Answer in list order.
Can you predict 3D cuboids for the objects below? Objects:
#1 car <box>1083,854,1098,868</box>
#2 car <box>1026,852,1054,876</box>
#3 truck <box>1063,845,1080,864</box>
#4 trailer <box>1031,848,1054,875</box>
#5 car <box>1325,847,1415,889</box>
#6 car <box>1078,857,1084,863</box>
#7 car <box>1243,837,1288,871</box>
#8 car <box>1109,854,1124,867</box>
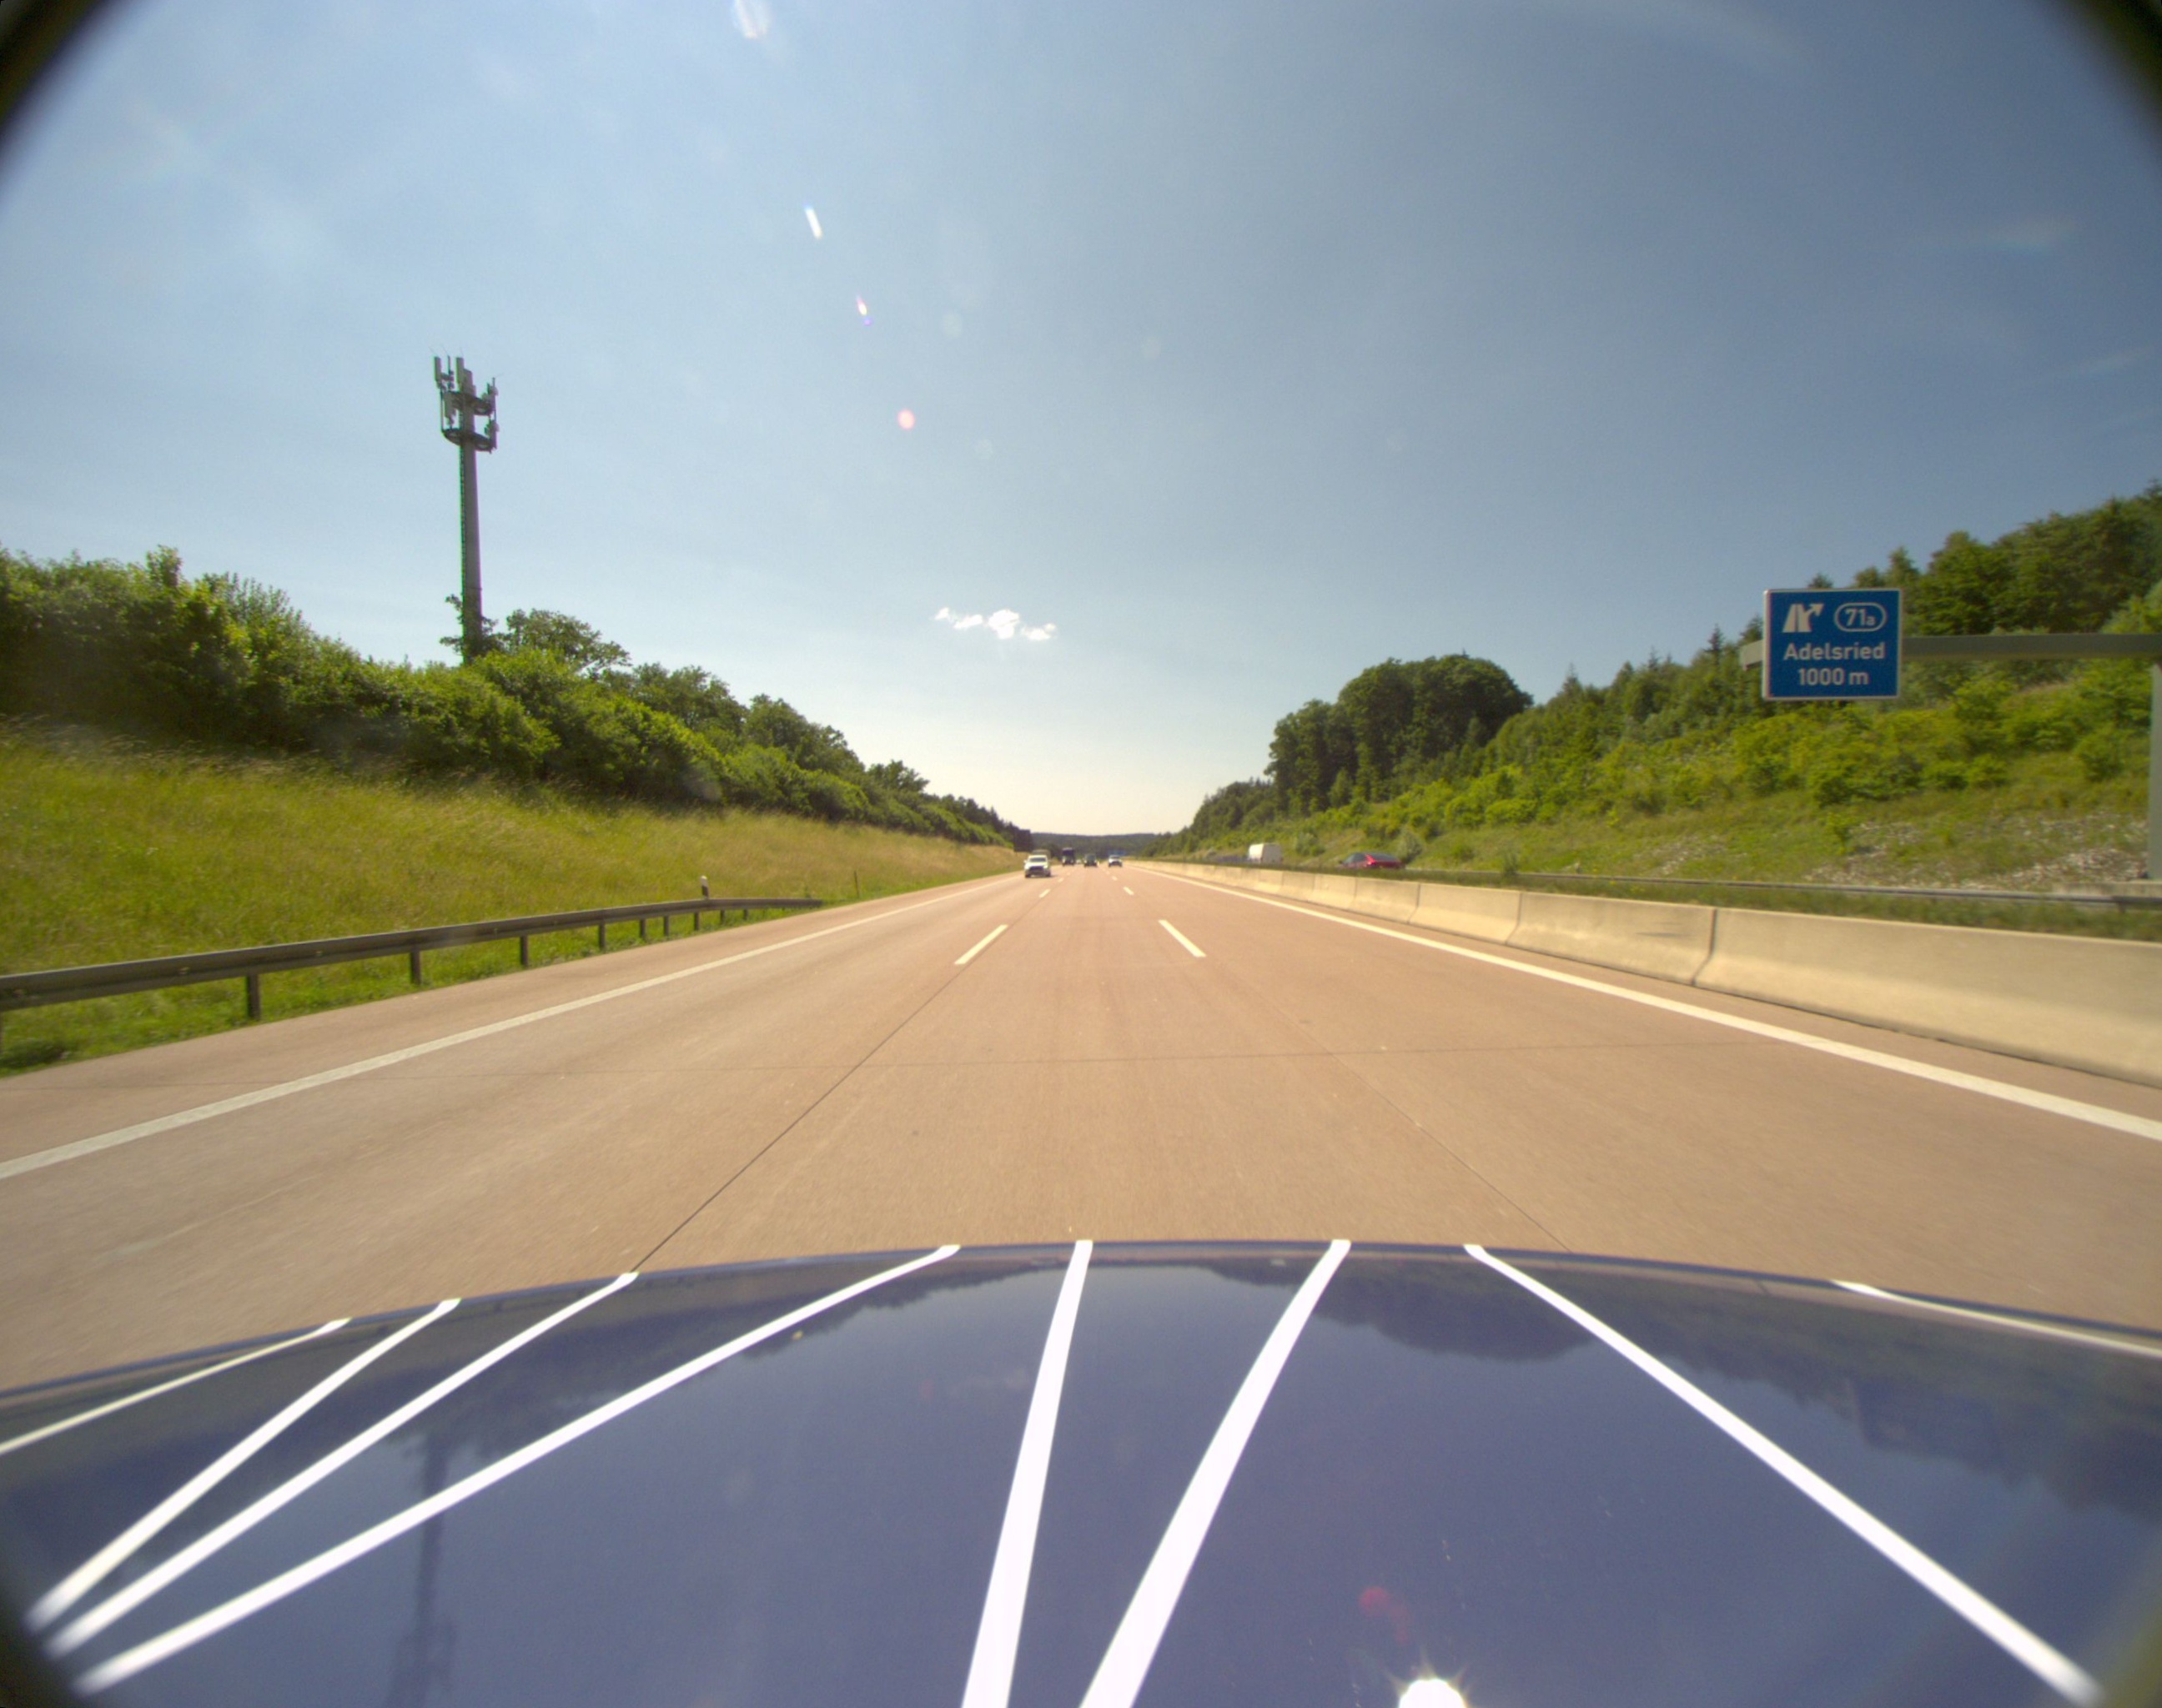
[{"bbox_3d":[1.369,1.015,110.756,1.998,1.805,4.565,-2,0,3],"label":"car"},{"bbox_3d":[-3.101,0.733,58.816,1.896,1.718,5.186,-2,0,-1],"label":"car"},{"bbox_3d":[-1.681,0.105,137.949,2.508,3.199,7.786,-2,-1,2],"label":"truck"},{"bbox_3d":[-3.173,0.609,63.341,1.662,2.151,4.016,-2,0,-1],"label":"trailer"},{"bbox_3d":[12.409,0.606,32.961,1.896,1.584,4.978,-2,-1,-1],"label":"car"},{"bbox_3d":[-0.114,1.922,258.162,1.998,2.001,4.000,-2,-1,1],"label":"car"},{"bbox_3d":[16.964,0.045,70.322,2.416,2.952,7.503,-2,-1,1],"label":"car"},{"bbox_3d":[4.852,0.860,105.142,1.895,1.718,4.564,-2,-1,0],"label":"car"}]
